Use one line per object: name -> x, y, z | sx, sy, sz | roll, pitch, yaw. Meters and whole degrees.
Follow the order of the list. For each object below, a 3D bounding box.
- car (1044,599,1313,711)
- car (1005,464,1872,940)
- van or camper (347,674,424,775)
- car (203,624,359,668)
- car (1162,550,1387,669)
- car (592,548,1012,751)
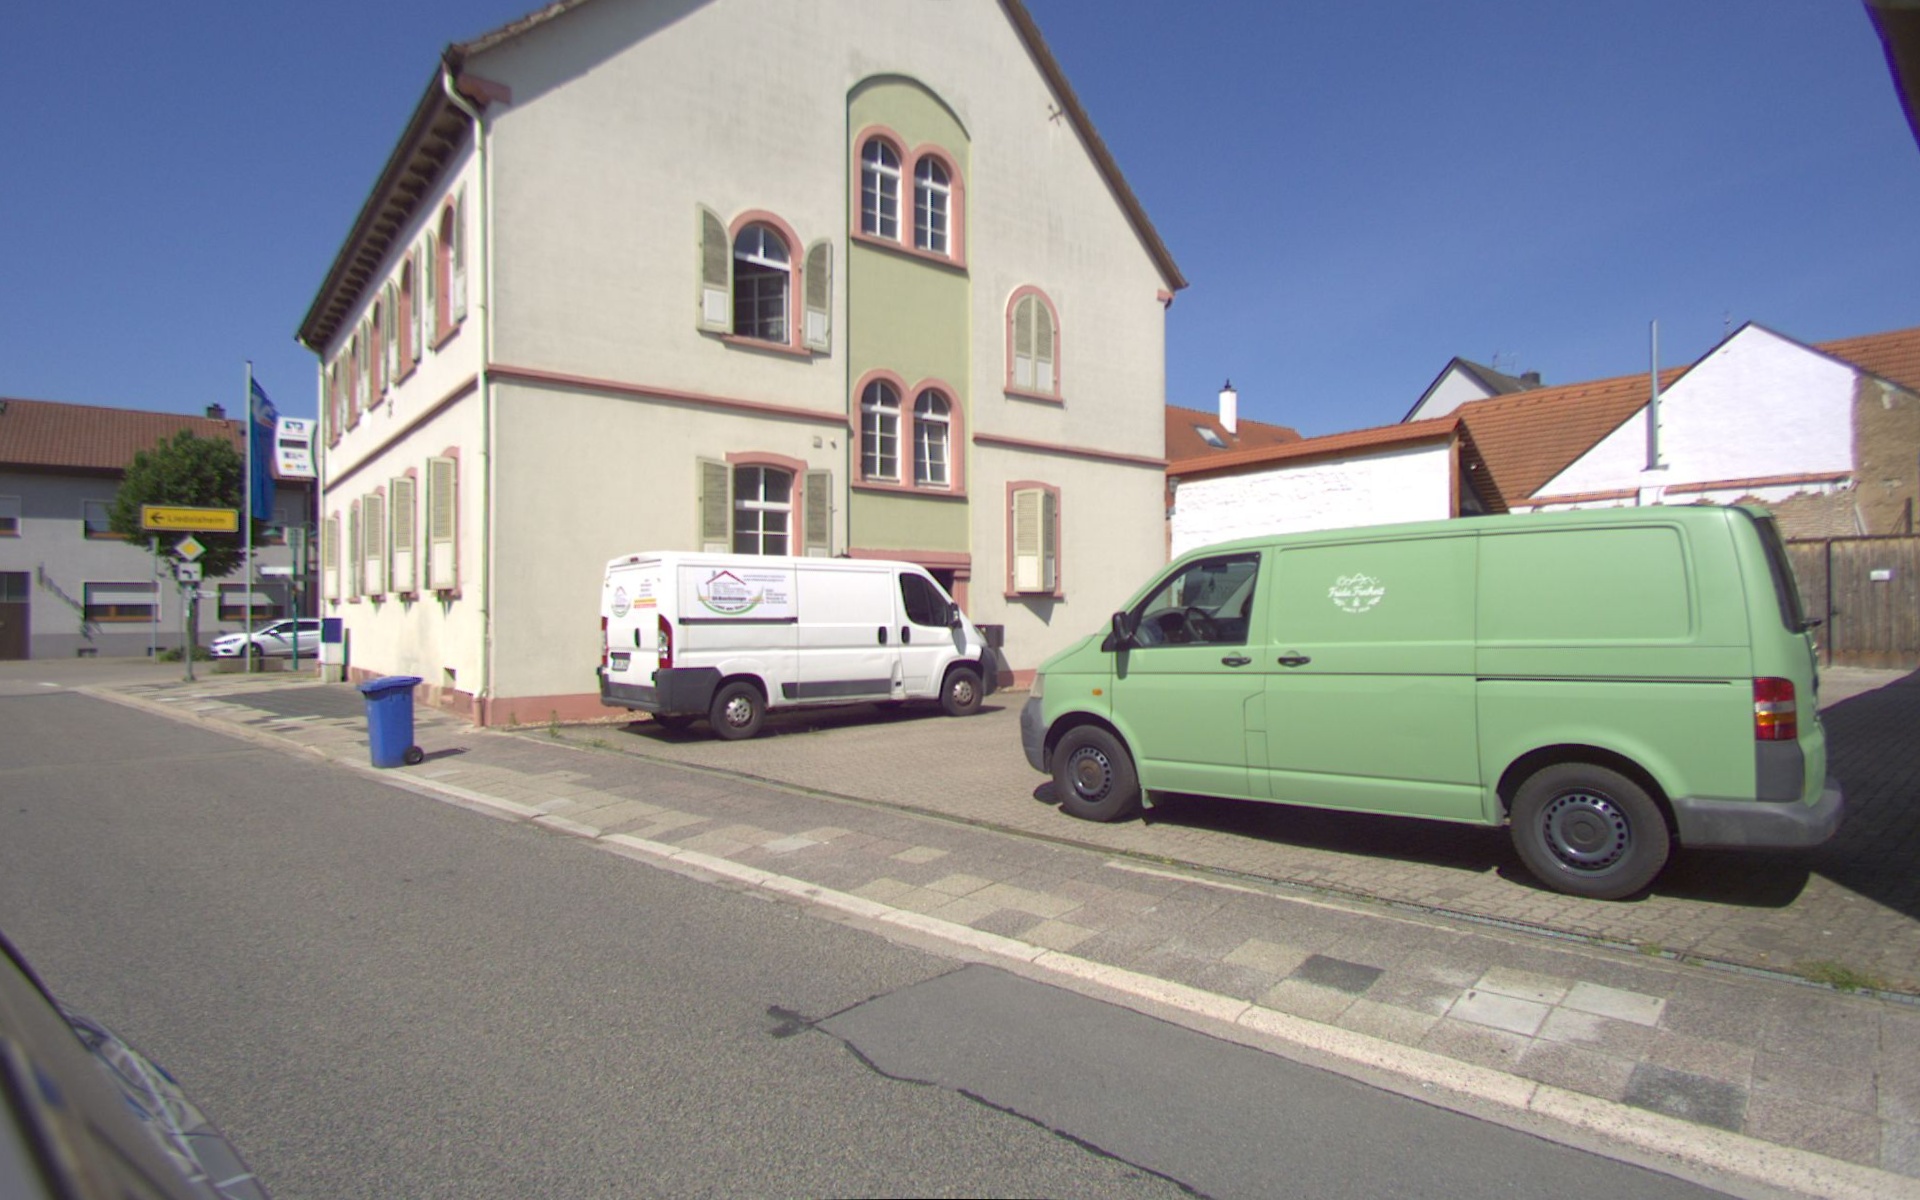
car -> 3.665, 0.815, 16.700 | 4.293, 1.477, 1.914 | -3, 0, -35
car -> 2.710, 0.473, 6.540 | 4.669, 1.979, 1.972 | -2, -1, 43
van or camper -> -6.012, 1.284, 10.585 | 0.582, 0.959, 0.601 | 0, -1, -43
car -> -25.053, 1.663, 37.460 | 1.853, 1.451, 4.454 | -2, -1, 38
car -> 7.834, 0.252, 25.744 | 1.968, 2.693, 5.242 | 0, -1, -38
car -> -1.955, 0.534, 13.467 | 5.109, 2.213, 2.127 | -1, -1, -38
